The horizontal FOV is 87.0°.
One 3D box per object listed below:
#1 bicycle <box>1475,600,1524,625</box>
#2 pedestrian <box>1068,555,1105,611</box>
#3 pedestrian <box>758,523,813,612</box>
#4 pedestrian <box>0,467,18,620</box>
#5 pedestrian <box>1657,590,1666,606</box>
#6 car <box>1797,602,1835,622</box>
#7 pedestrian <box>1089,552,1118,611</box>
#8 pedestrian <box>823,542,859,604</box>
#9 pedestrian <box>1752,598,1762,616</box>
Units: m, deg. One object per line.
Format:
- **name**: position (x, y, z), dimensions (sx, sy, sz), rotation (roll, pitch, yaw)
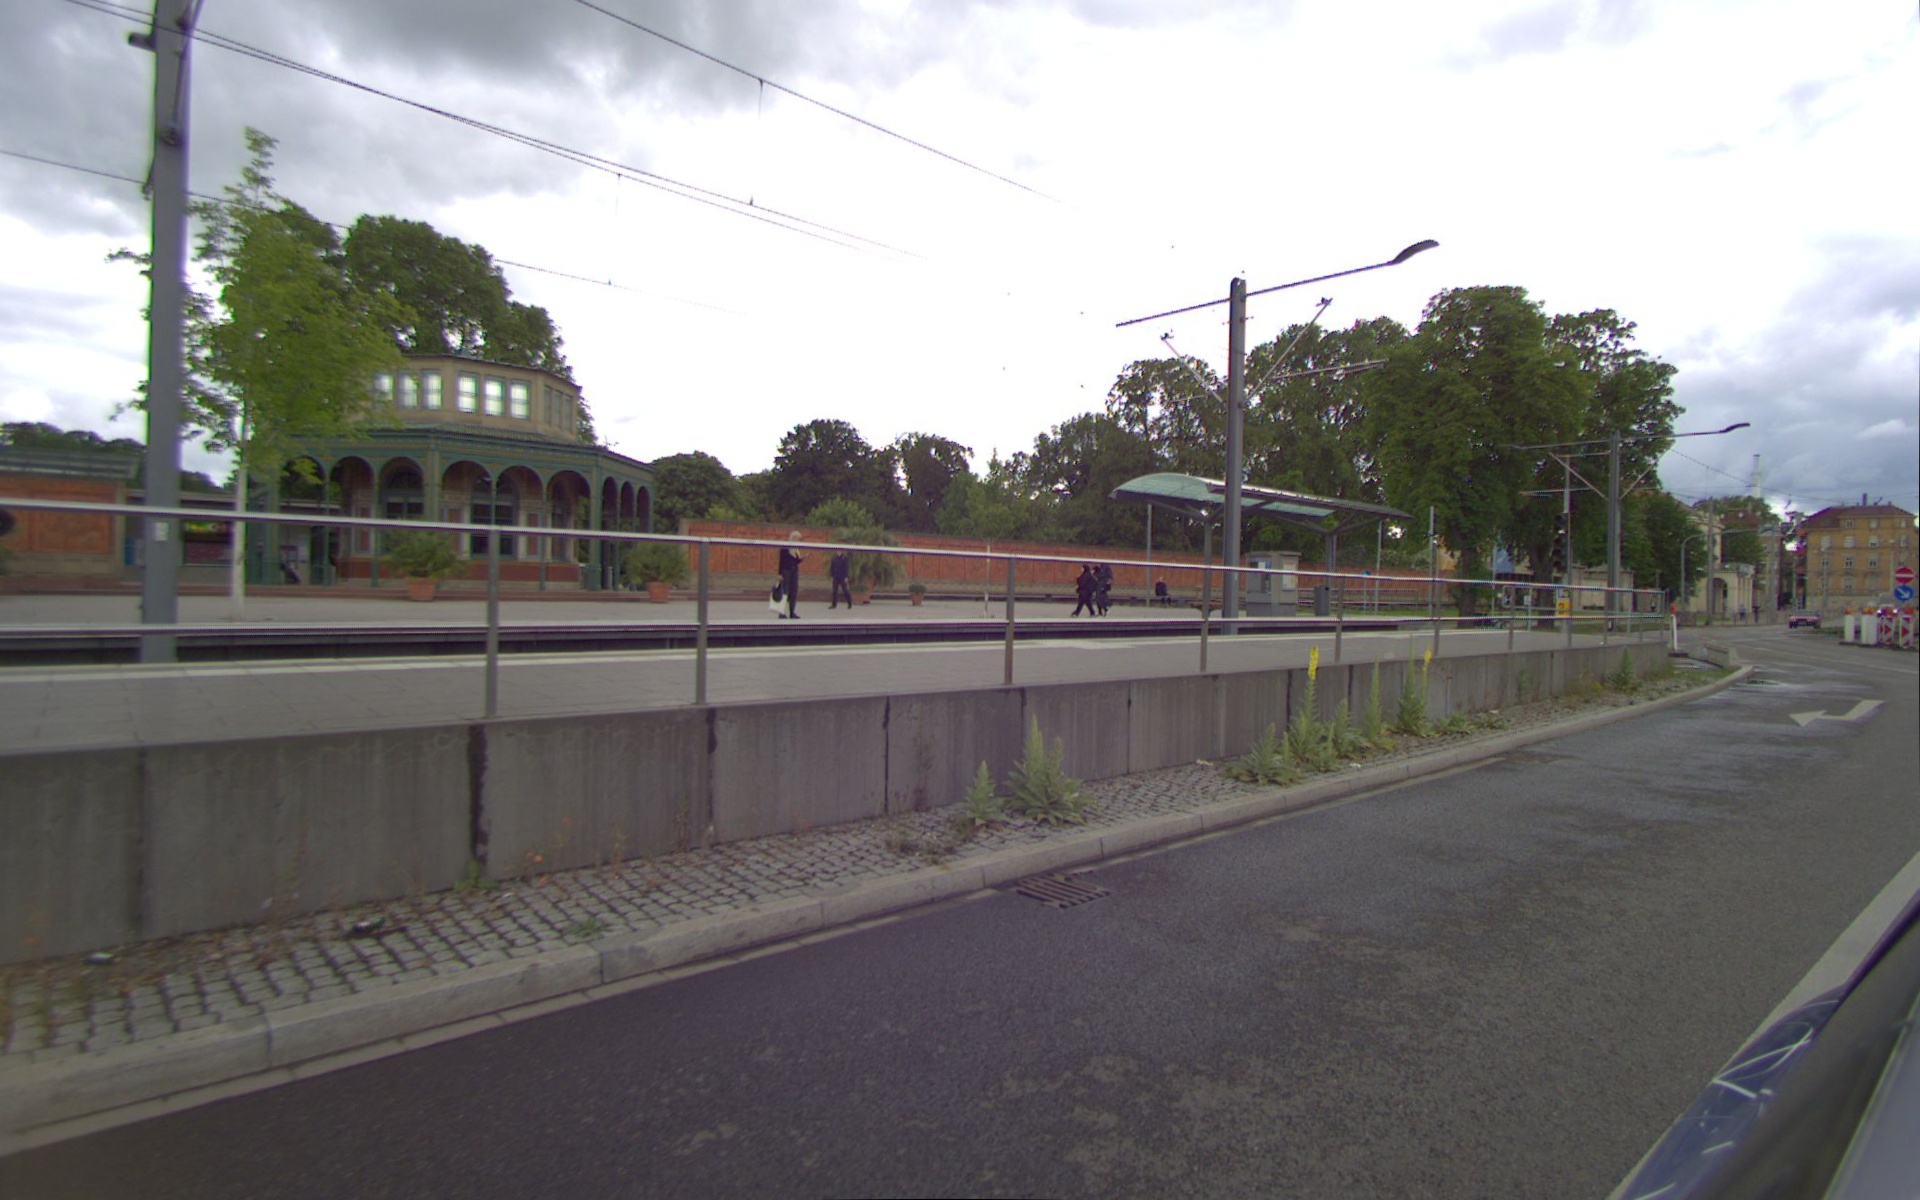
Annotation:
- **bicycle**: position (26.515, 0.611, 49.758), dimensions (0.727, 1.172, 1.997), rotation (1, 1, -37)
- **pedestrian**: position (3.714, -0.481, 29.703), dimensions (0.757, 1.621, 0.742), rotation (0, -1, -33)
- **pedestrian**: position (-3.433, -0.628, 19.941), dimensions (0.851, 1.709, 0.633), rotation (0, -1, -42)
- **pedestrian**: position (-12.112, -0.682, 12.290), dimensions (0.933, 1.862, 0.634), rotation (0, -1, -40)
- **pedestrian**: position (79.288, -0.198, 114.370), dimensions (0.795, 1.815, 0.596), rotation (0, 1, -42)
- **car**: position (64.867, 0.907, 76.666), dimensions (4.049, 1.460, 1.678), rotation (0, -1, -43)
- **pedestrian**: position (4.105, -0.522, 28.979), dimensions (0.616, 1.681, 0.487), rotation (0, -1, -33)
- **pedestrian**: position (-3.616, -0.814, 30.776), dimensions (0.547, 1.861, 0.938), rotation (-2, -1, 42)
- **pedestrian**: position (83.325, 0.717, 105.821), dimensions (0.921, 1.790, 0.671), rotation (0, 1, -42)
